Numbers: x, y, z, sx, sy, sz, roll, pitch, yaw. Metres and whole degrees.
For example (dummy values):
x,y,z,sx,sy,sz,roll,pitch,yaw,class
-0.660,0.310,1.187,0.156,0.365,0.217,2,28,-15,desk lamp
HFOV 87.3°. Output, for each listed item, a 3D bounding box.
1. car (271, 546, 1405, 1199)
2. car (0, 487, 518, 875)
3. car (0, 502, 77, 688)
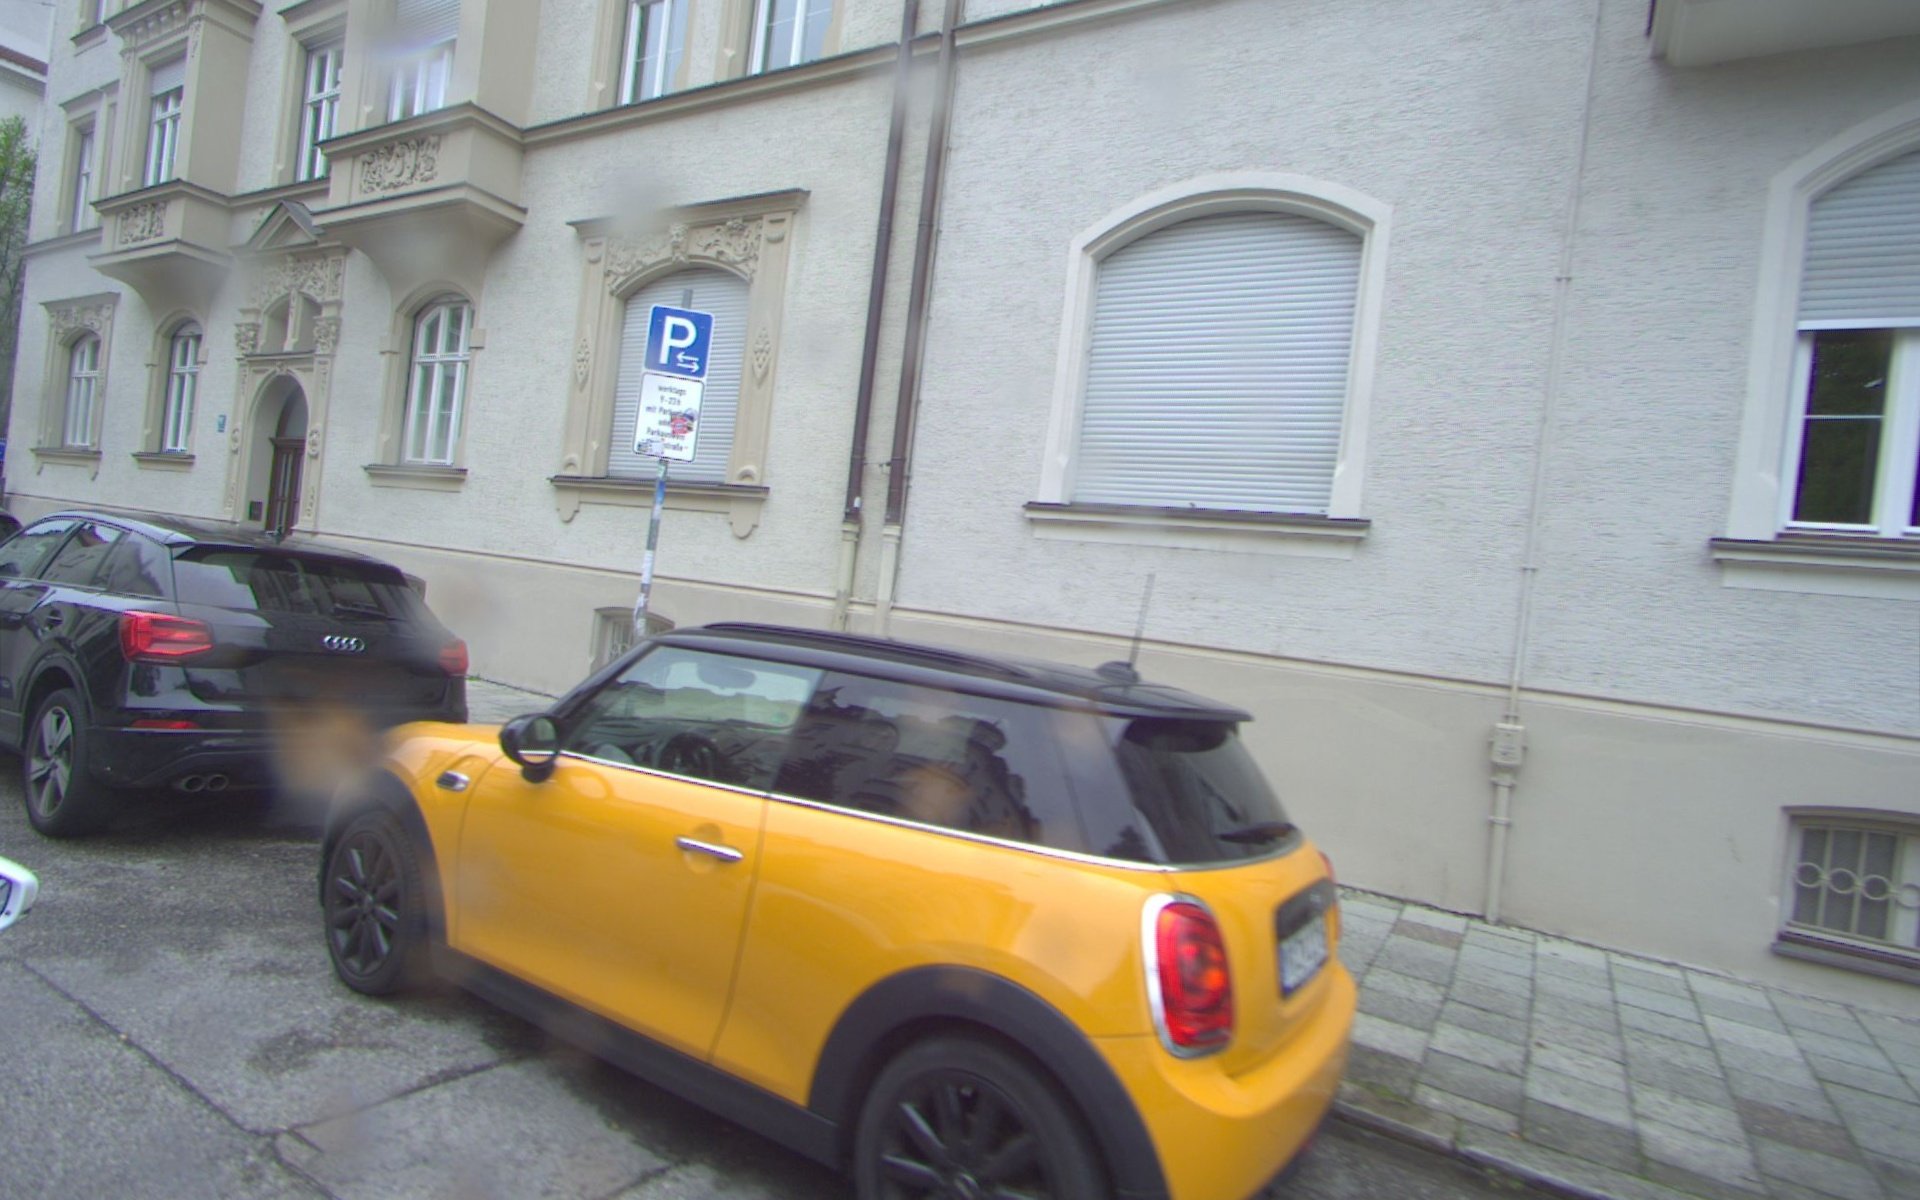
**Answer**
x,y,z,sx,sy,sz,roll,pitch,yaw,class
-0.568,0.758,3.485,3.538,1.458,1.658,7,0,32,car
-4.655,0.255,5.904,3.892,1.534,1.746,7,-1,32,car
-9.348,-0.263,8.542,3.934,1.434,1.644,7,-1,32,car
